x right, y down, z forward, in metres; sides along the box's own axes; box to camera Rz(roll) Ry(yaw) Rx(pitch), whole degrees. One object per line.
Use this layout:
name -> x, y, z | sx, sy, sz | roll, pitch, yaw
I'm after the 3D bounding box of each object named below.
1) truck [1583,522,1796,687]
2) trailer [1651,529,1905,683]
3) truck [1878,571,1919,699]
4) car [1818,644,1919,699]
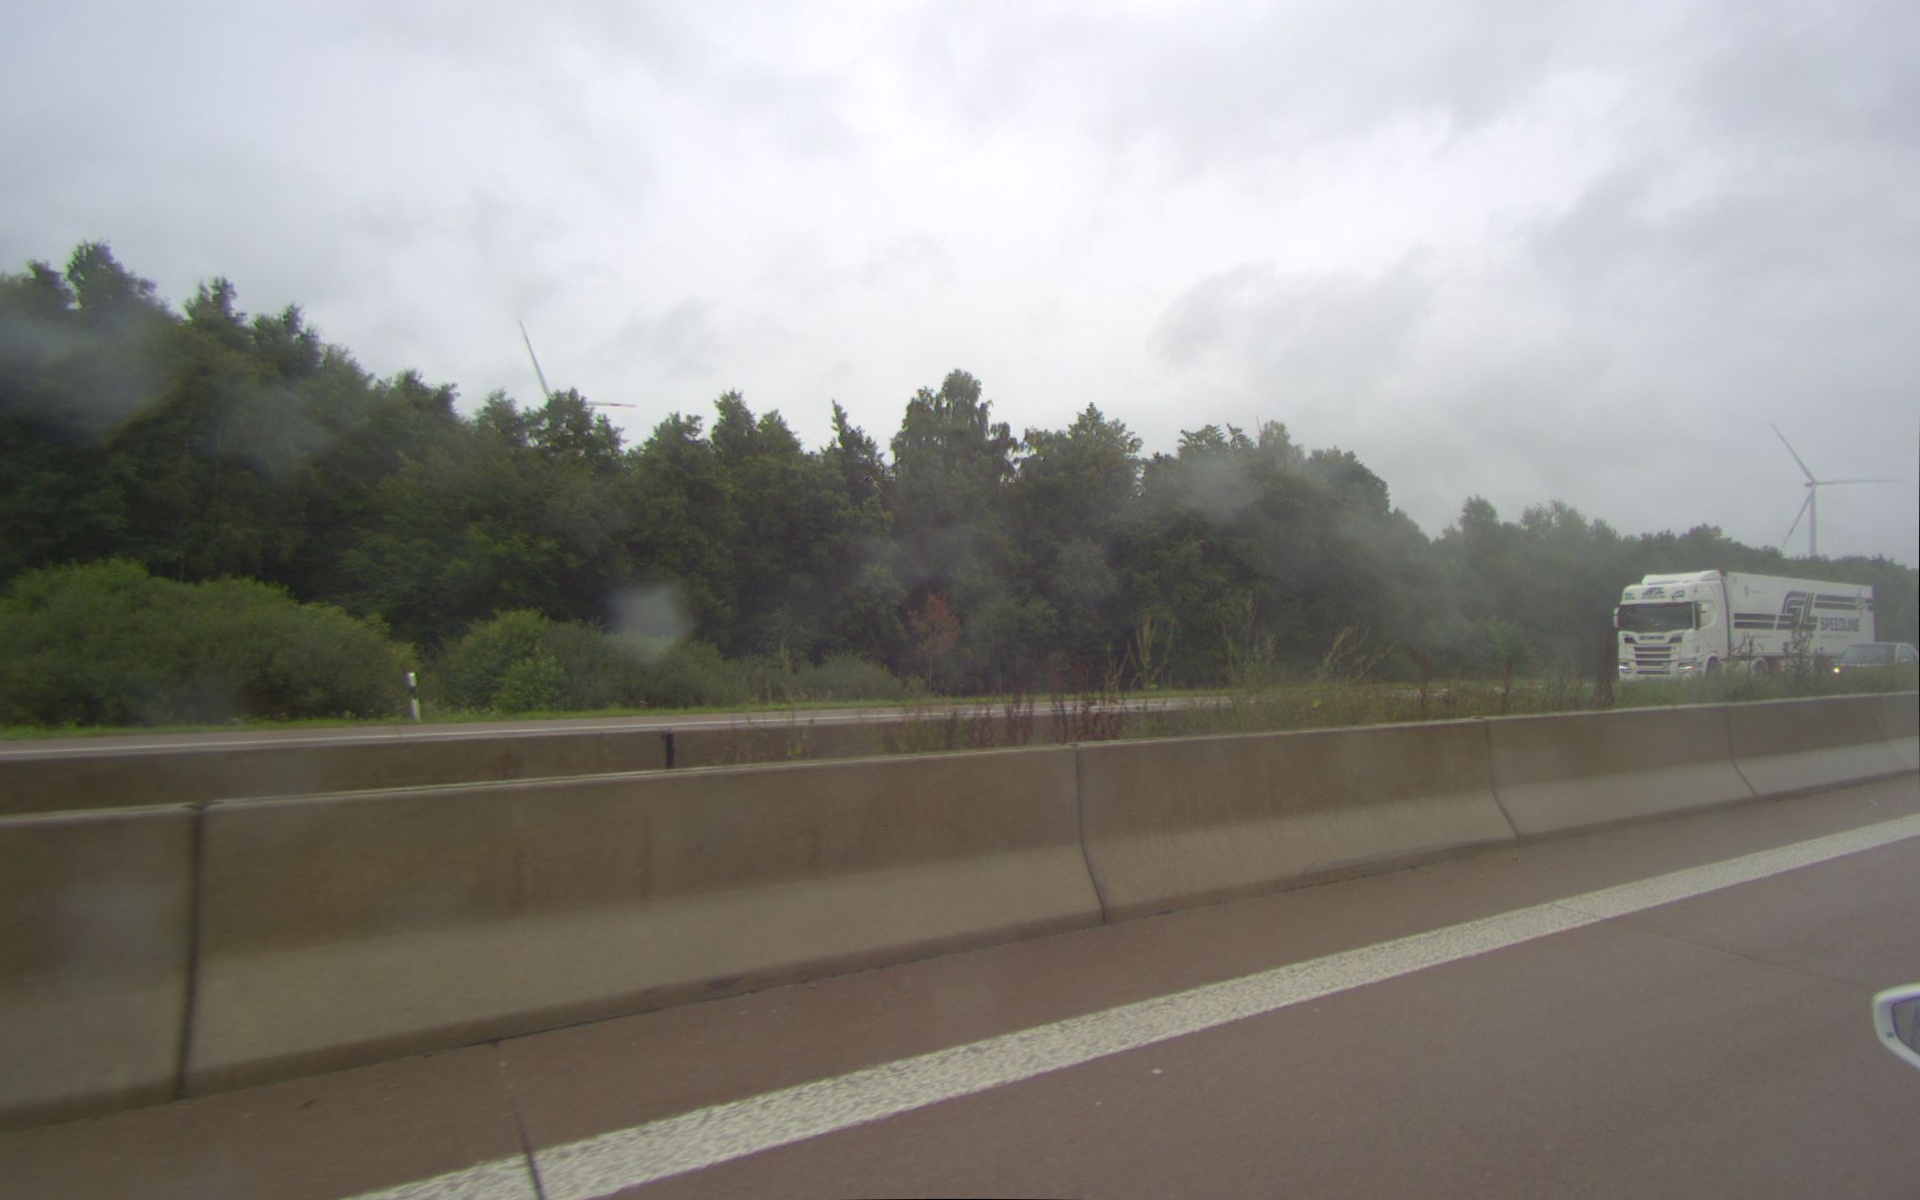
truck -> 26.772, 0.242, 36.769 | 8.065, 5.450, 3.401 | 2, 0, -31
trailer -> 33.610, 0.389, 40.943 | 14.073, 5.513, 3.413 | 2, 0, -31
truck -> 42.458, 1.527, 41.801 | 8.851, 5.081, 3.905 | 2, 0, -31
car -> 24.545, 1.876, 26.943 | 3.048, 1.375, 1.409 | 1, -2, -30
